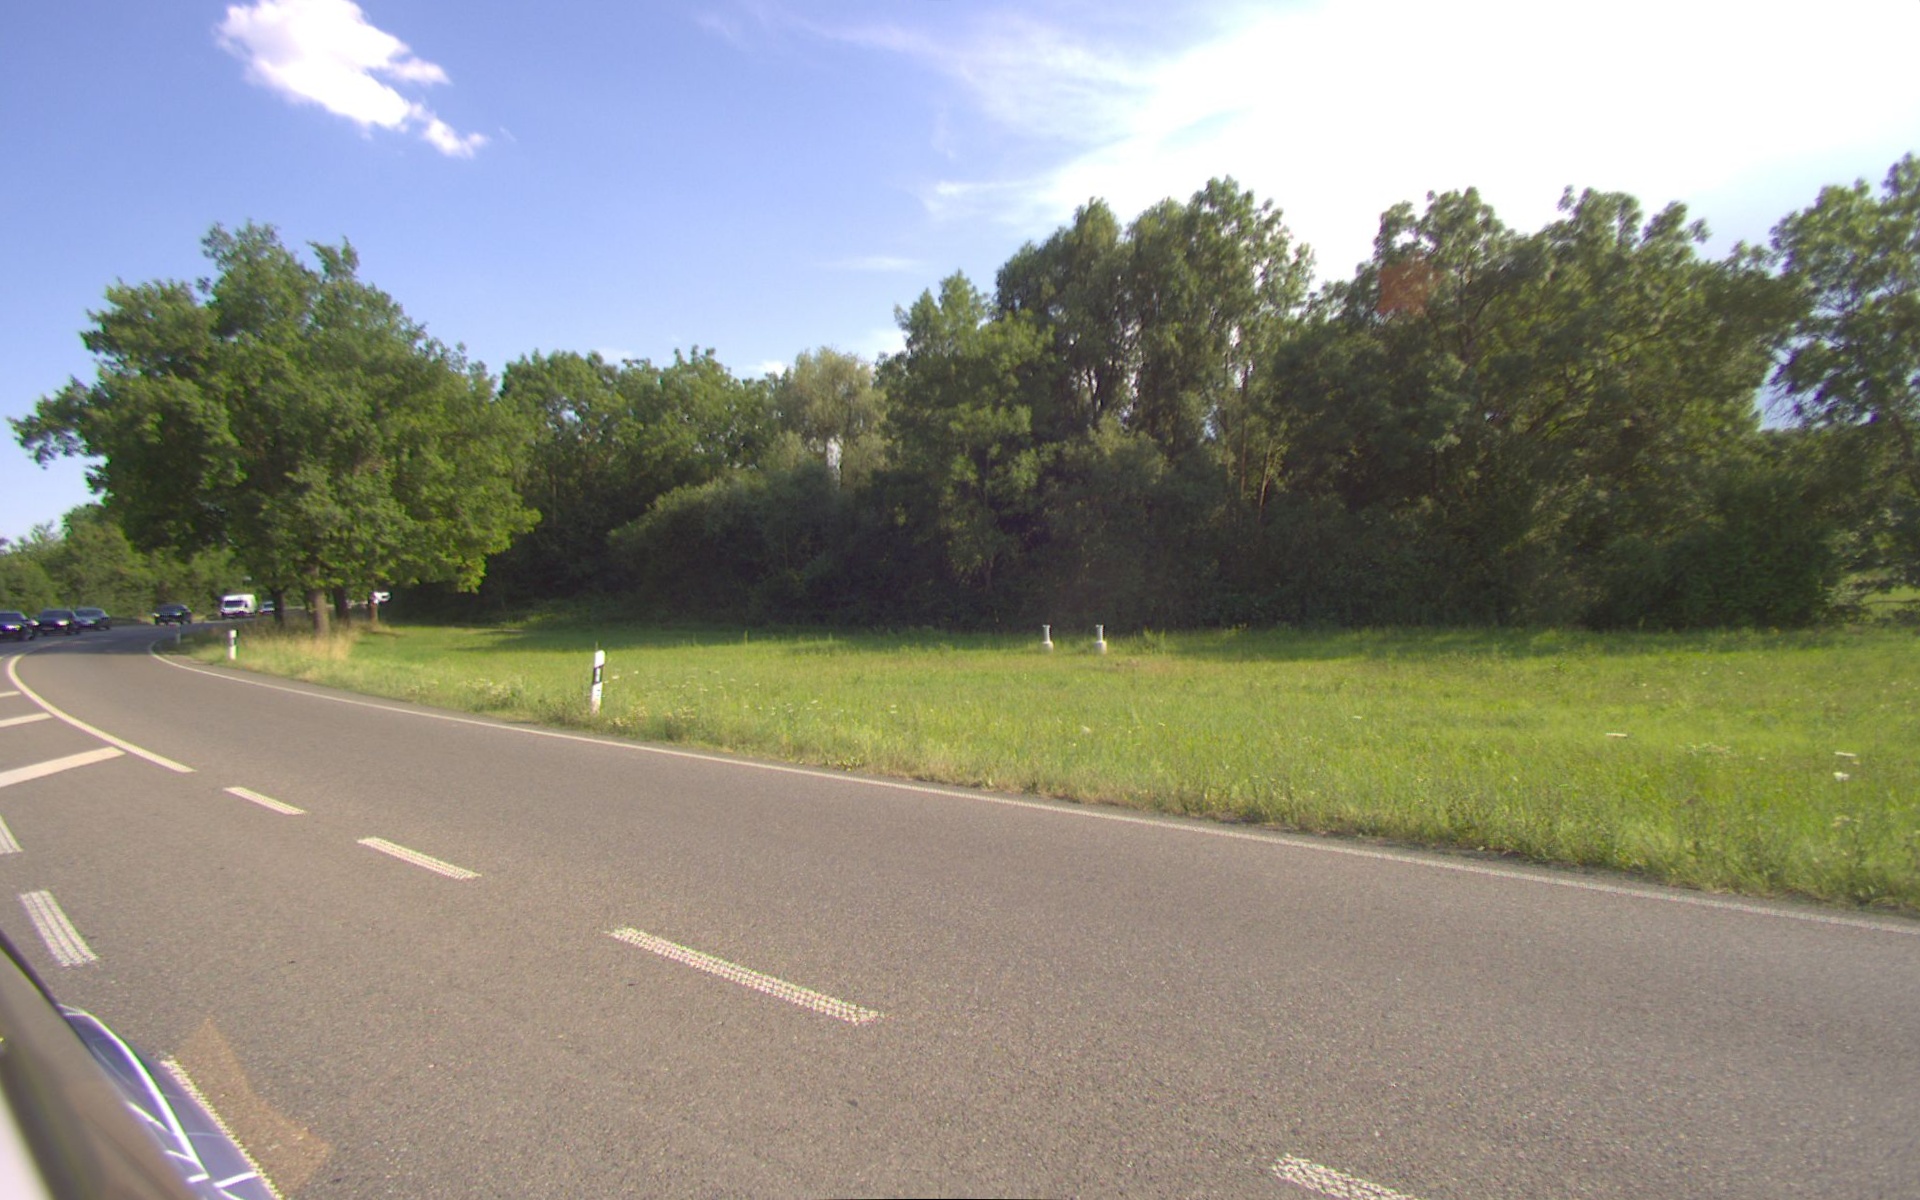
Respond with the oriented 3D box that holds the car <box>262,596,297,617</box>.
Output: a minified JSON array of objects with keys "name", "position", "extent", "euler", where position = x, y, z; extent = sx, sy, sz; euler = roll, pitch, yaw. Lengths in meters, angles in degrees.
[{"name":"car","position":[-79.371,0.721,118.135],"extent":[2.054,2.435,5.158],"euler":[-1,0,-19]}]

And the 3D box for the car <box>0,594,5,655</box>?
[{"name":"car","position":[-38.138,0.972,38.248],"extent":[2.055,2.435,5.156],"euler":[-1,0,-33]}]

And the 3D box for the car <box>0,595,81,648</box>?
[{"name":"car","position":[-45.061,1.009,49.562],"extent":[2.054,2.435,5.158],"euler":[-1,0,-30]}]

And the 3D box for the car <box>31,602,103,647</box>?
[{"name":"car","position":[-51.028,1.346,57.920],"extent":[2.054,2.435,5.158],"euler":[-1,0,-30]}]

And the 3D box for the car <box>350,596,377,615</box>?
[{"name":"car","position":[-81.114,0.751,137.725],"extent":[2.054,2.435,5.158],"euler":[-1,0,-19]}]

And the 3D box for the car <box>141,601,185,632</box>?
[{"name":"car","position":[-65.621,1.293,83.391],"extent":[2.054,2.435,5.158],"euler":[-1,0,-30]}]

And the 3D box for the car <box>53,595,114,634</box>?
[{"name":"car","position":[-57.283,0.879,66.214],"extent":[2.054,2.435,5.158],"euler":[-1,0,-30]}]

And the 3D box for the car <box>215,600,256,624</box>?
[{"name":"car","position":[-75.452,1.244,105.460],"extent":[2.054,2.435,5.158],"euler":[-1,0,-19]}]
